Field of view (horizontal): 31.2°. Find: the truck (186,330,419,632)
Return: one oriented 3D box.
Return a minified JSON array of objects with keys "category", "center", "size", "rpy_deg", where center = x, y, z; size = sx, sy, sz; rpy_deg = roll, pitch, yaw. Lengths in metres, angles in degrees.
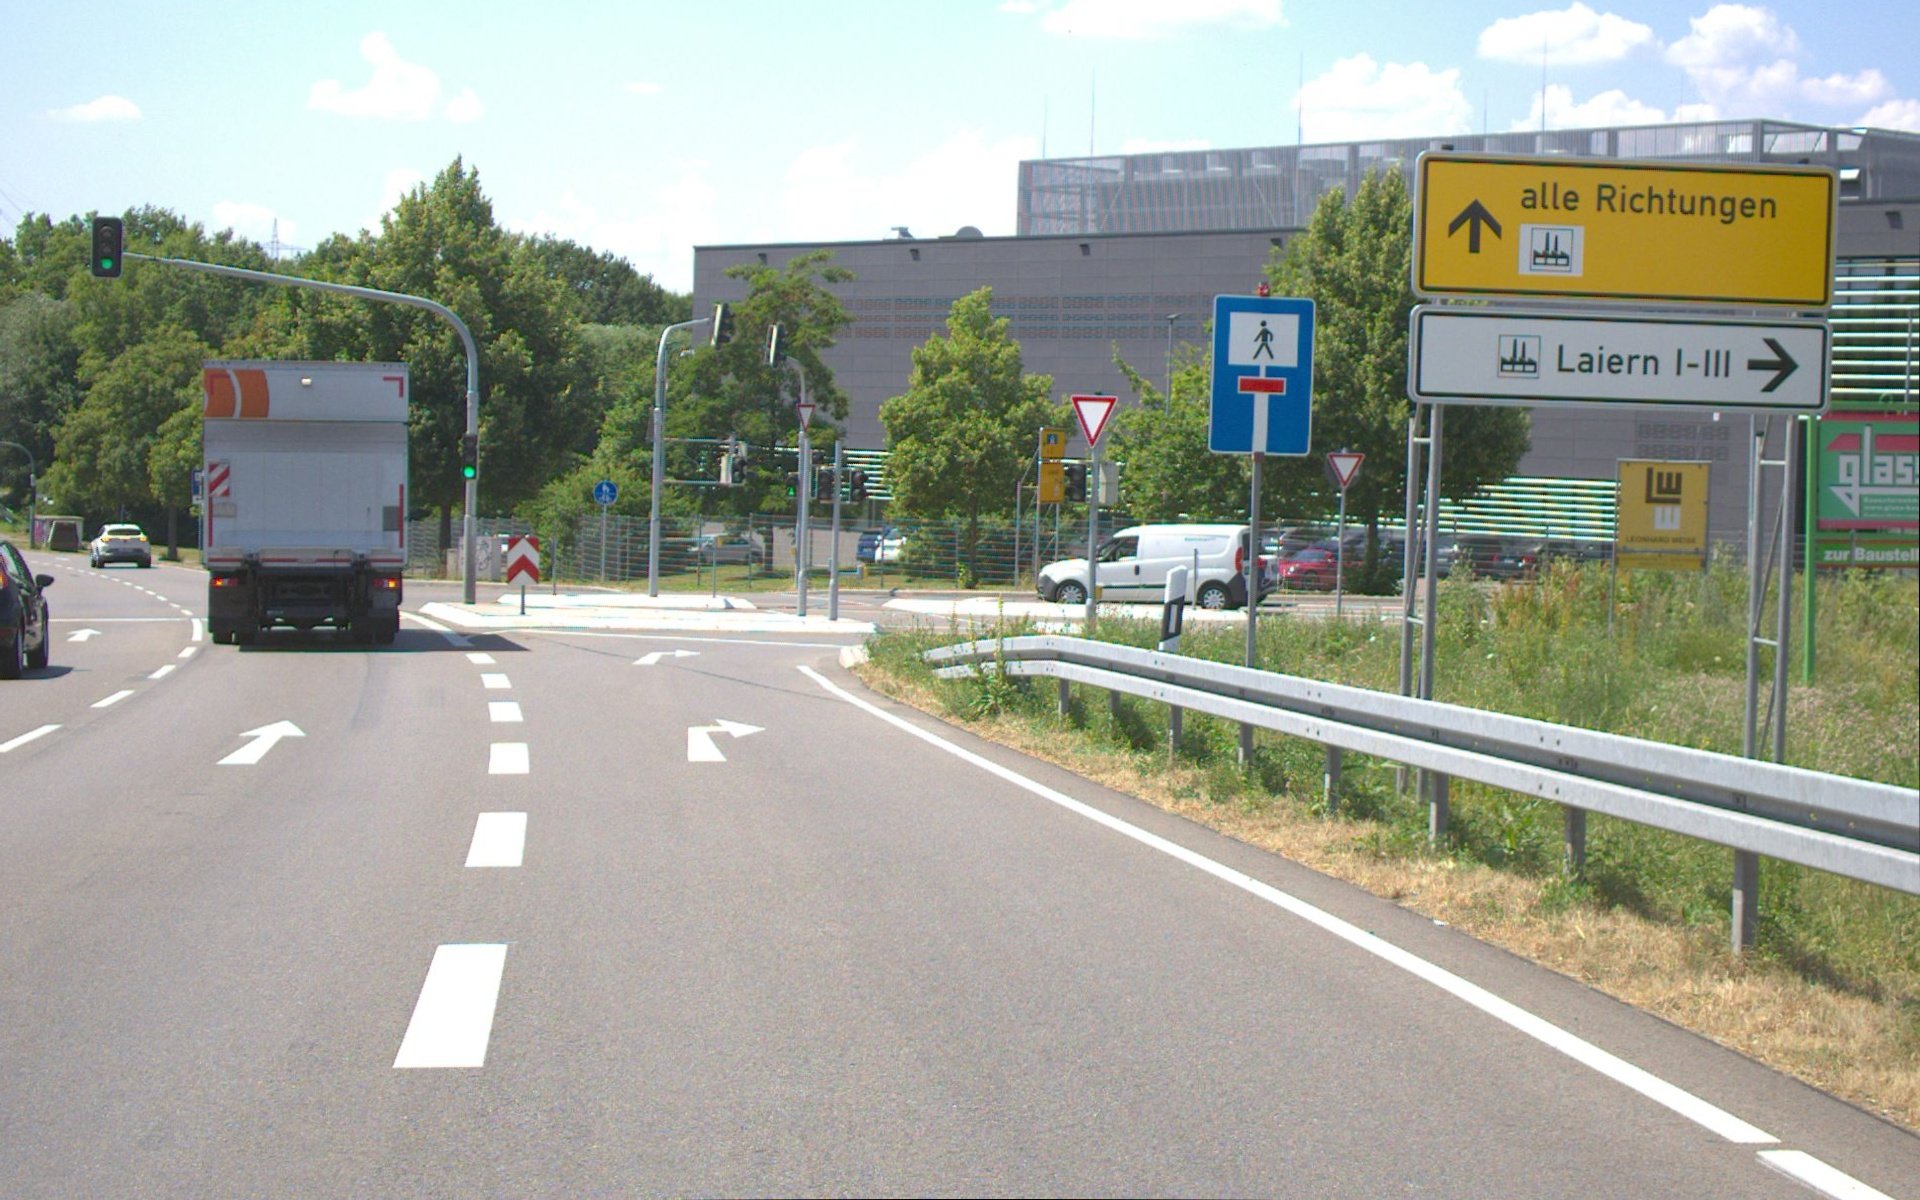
[{"category":"truck","center":[-9.028,-1.623,47.166],"size":[2.803,3.698,9.111],"rpy_deg":[1,2,-11]}]

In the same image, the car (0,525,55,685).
[{"category":"car","center":[-10.675,-0.005,36.321],"size":[1.652,1.488,4.209],"rpy_deg":[1,2,-8]}]

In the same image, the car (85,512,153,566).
[{"category":"car","center":[-29.241,-2.128,119.433],"size":[1.943,1.658,4.002],"rpy_deg":[3,1,-18]}]

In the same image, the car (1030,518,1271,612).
[{"category":"car","center":[4.076,-0.757,73.265],"size":[4.748,1.925,2.152],"rpy_deg":[1,1,15]}]
